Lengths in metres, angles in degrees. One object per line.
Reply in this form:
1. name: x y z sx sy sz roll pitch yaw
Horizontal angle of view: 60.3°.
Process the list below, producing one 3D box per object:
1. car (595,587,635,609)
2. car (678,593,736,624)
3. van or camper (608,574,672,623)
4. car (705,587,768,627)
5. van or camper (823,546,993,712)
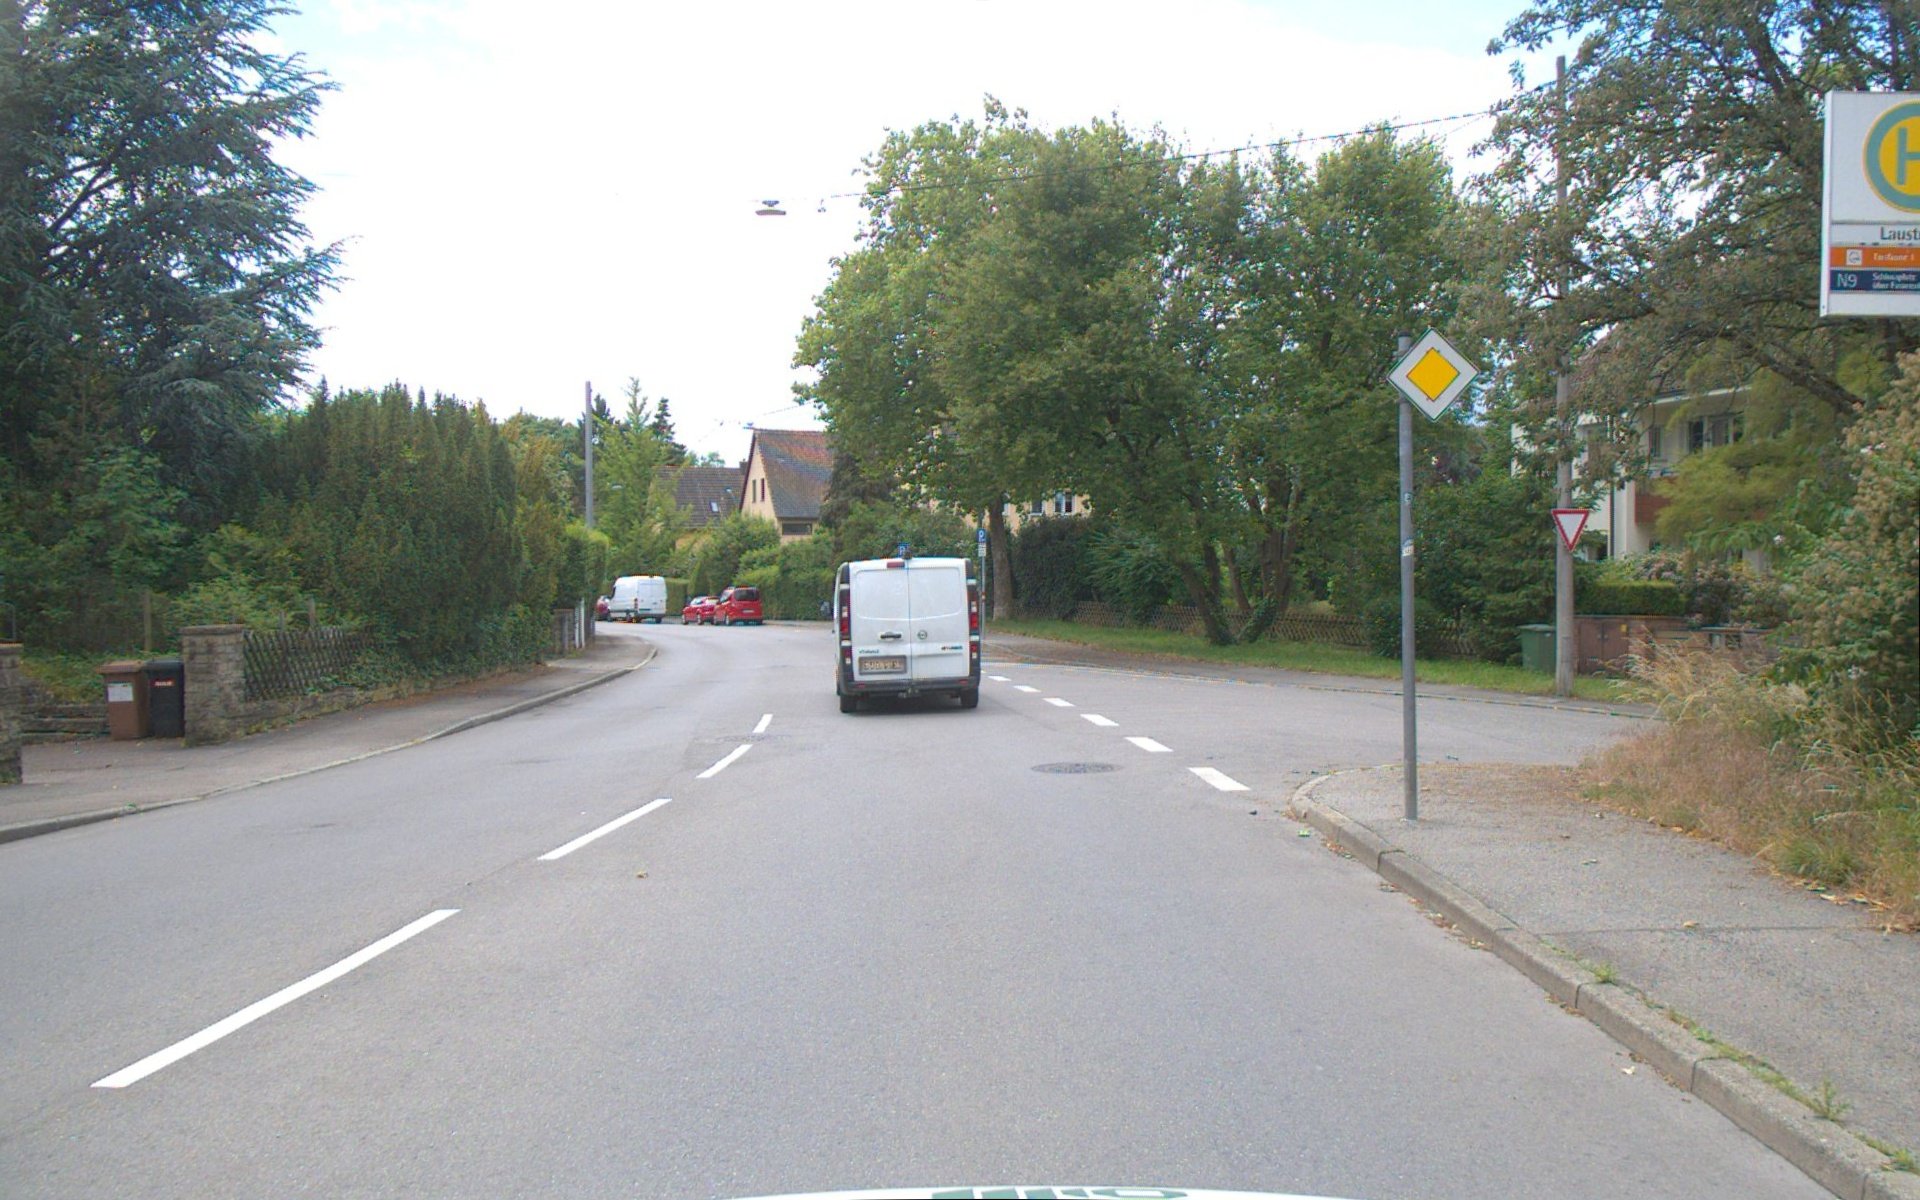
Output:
1. car: -21.441 -0.099 102.621 1.512 1.327 3.997 -1 0 -26
2. car: -12.832 0.421 83.682 1.692 1.493 4.230 -1 0 -27
3. van or camper: -18.679 -0.127 96.222 2.042 2.721 6.273 -1 1 -27
4. car: -10.717 0.320 79.015 1.737 1.828 4.912 -1 0 -23
5. van or camper: -0.835 0.291 22.972 1.888 2.048 4.822 0 2 -7
